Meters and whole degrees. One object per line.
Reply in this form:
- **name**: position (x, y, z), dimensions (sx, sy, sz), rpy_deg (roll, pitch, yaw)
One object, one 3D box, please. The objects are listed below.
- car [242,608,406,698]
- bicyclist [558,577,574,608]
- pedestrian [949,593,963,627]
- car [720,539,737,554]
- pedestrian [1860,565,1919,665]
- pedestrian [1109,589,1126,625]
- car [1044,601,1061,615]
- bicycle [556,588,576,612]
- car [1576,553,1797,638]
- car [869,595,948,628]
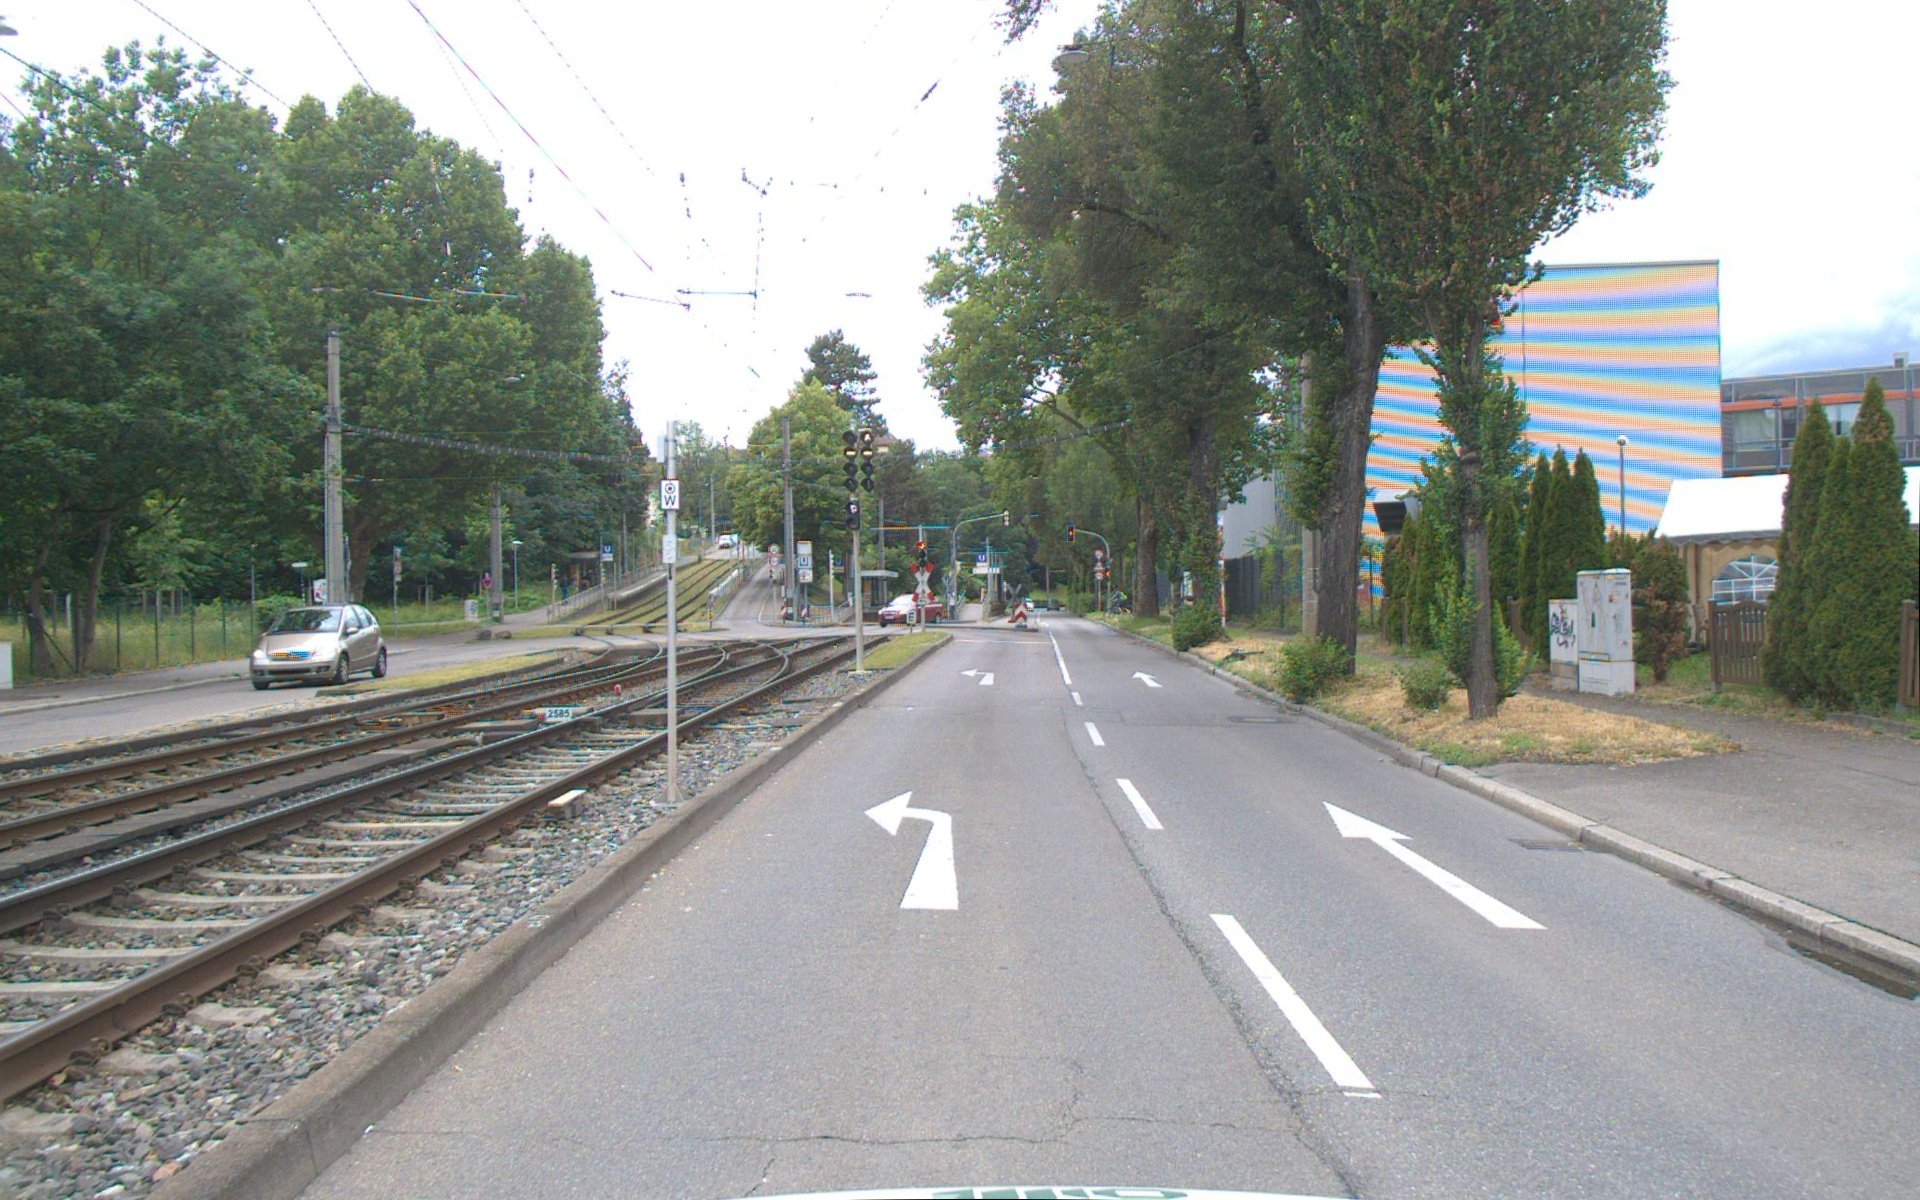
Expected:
- **car**: position (-12.977, 1.031, 34.020), dimensions (1.854, 1.558, 4.253), rpy_deg (-4, 0, -4)
- **bicyclist**: position (-24.993, -0.494, 104.797), dimensions (0.805, 1.881, 1.051), rpy_deg (-1, 2, -5)
- **pedestrian**: position (-0.228, 0.547, 92.852), dimensions (0.753, 1.885, 0.910), rpy_deg (-1, -1, -1)
- **car**: position (-34.011, -7.891, 243.188), dimensions (1.953, 2.049, 3.999), rpy_deg (-2, 0, -2)
- **pedestrian**: position (14.470, 0.227, 25.734), dimensions (0.692, 1.516, 0.766), rpy_deg (-1, 0, 39)
- **pedestrian**: position (9.187, 0.400, 96.606), dimensions (0.911, 2.049, 0.668), rpy_deg (-1, -1, 9)
- **car**: position (12.425, 1.101, 222.987), dimensions (1.953, 1.847, 3.999), rpy_deg (-1, 0, -1)
- **bicycle**: position (-25.015, -0.012, 105.068), dimensions (0.808, 1.366, 2.994), rpy_deg (-2, 3, -6)
- **car**: position (15.765, -0.079, 36.055), dimensions (4.273, 1.736, 1.999), rpy_deg (-1, 0, 23)
- **car**: position (-2.469, 0.550, 80.262), dimensions (1.955, 1.542, 4.495), rpy_deg (0, 0, 27)
